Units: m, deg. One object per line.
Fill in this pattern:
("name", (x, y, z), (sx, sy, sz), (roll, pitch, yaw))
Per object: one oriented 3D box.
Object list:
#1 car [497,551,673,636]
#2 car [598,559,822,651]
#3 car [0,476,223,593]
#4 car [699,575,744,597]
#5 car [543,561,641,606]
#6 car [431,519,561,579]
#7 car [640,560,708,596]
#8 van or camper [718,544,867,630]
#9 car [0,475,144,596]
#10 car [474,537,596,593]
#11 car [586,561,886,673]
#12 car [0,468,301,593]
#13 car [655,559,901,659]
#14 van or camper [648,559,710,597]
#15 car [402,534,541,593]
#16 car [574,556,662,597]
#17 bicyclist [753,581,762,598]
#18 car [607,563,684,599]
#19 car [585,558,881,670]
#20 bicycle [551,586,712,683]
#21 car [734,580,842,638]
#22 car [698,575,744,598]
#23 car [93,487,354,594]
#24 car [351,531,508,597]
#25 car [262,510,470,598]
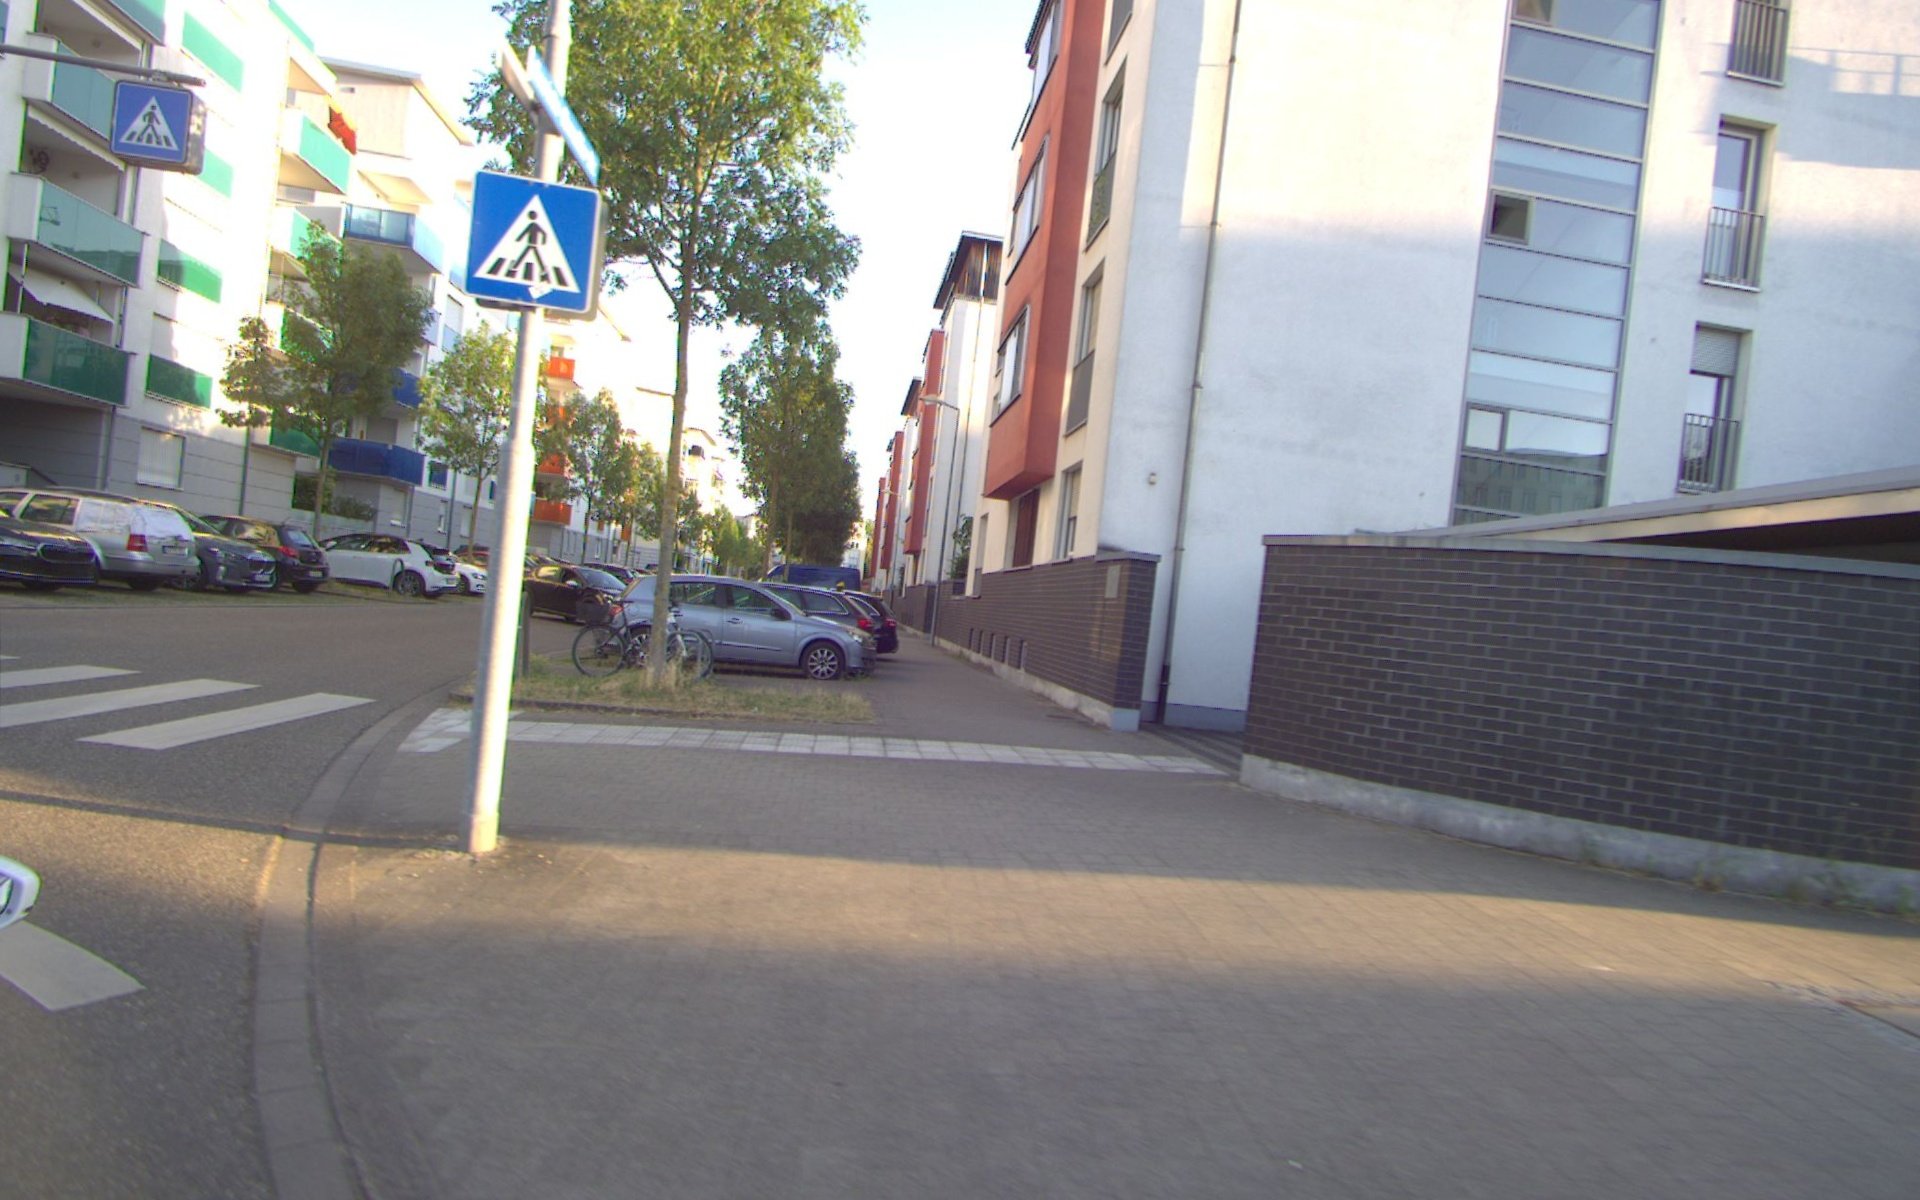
("car", (-9.603, -0.176, 25.727), (4.105, 1.479, 1.777), (9, -1, 28))
("car", (-5.588, 0.124, 22.947), (4.681, 1.605, 1.755), (5, 0, -11))
("car", (-14.883, -1.131, 16.345), (4.336, 1.526, 1.742), (6, 0, -4))
("car", (-25.328, -1.446, 106.906), (4.182, 1.634, 1.691), (10, -1, -6))
("car", (-18.613, -0.834, 51.044), (4.182, 1.554, 1.691), (10, -1, -6))
("car", (-17.669, -1.912, 38.474), (4.039, 1.526, 1.663), (10, -1, -11))
("car", (-20.185, -1.532, 71.199), (4.182, 1.799, 1.691), (10, 0, -6))
("van or camper", (-7.578, -0.577, 45.559), (6.212, 3.126, 2.437), (6, 0, -11))
("car", (-14.640, -1.194, 13.918), (4.806, 1.474, 1.936), (10, -1, -5))
("car", (-17.386, -1.401, 41.326), (4.187, 1.526, 1.748), (10, -1, -11))
("car", (-3.329, 0.265, 15.457), (4.218, 1.476, 1.678), (2, 0, -9))
("car", (-15.188, -1.248, 18.877), (4.225, 1.511, 1.740), (10, -1, -8))
("car", (-3.627, 0.190, 20.697), (4.701, 1.574, 1.710), (5, 0, -3))
("van or camper", (-22.073, -1.686, 79.116), (4.183, 2.236, 1.690), (10, 0, -7))
("car", (-17.456, -1.273, 36.136), (4.039, 1.377, 1.663), (10, -1, -11))
("car", (-19.179, -1.302, 56.548), (4.182, 1.554, 1.691), (10, -1, -6))
("bicyclist", (-20.977, -1.053, 104.192), (0.754, 1.647, 0.662), (6, 0, -8))
("car", (-19.696, -1.171, 63.225), (4.182, 1.554, 1.691), (10, -1, -6))
("car", (-3.933, 0.263, 17.949), (4.833, 1.497, 1.708), (5, 0, -9))
("bicycle", (-4.066, 0.426, 12.544), (1.790, 1.080, 0.566), (4, 0, -9))
("car", (-6.924, 0.376, 40.560), (4.039, 1.644, 1.720), (10, -1, -11))
("car", (-24.707, -1.357, 104.133), (4.182, 1.658, 1.691), (10, -1, -6))
("car", (-15.771, -1.238, 21.691), (4.218, 1.475, 1.743), (9, -1, 2))
("car", (-16.553, -1.090, 31.564), (3.859, 1.360, 1.720), (10, -1, -11))
("car", (-15.545, -1.159, 26.535), (4.227, 1.525, 1.682), (10, -1, -10))
